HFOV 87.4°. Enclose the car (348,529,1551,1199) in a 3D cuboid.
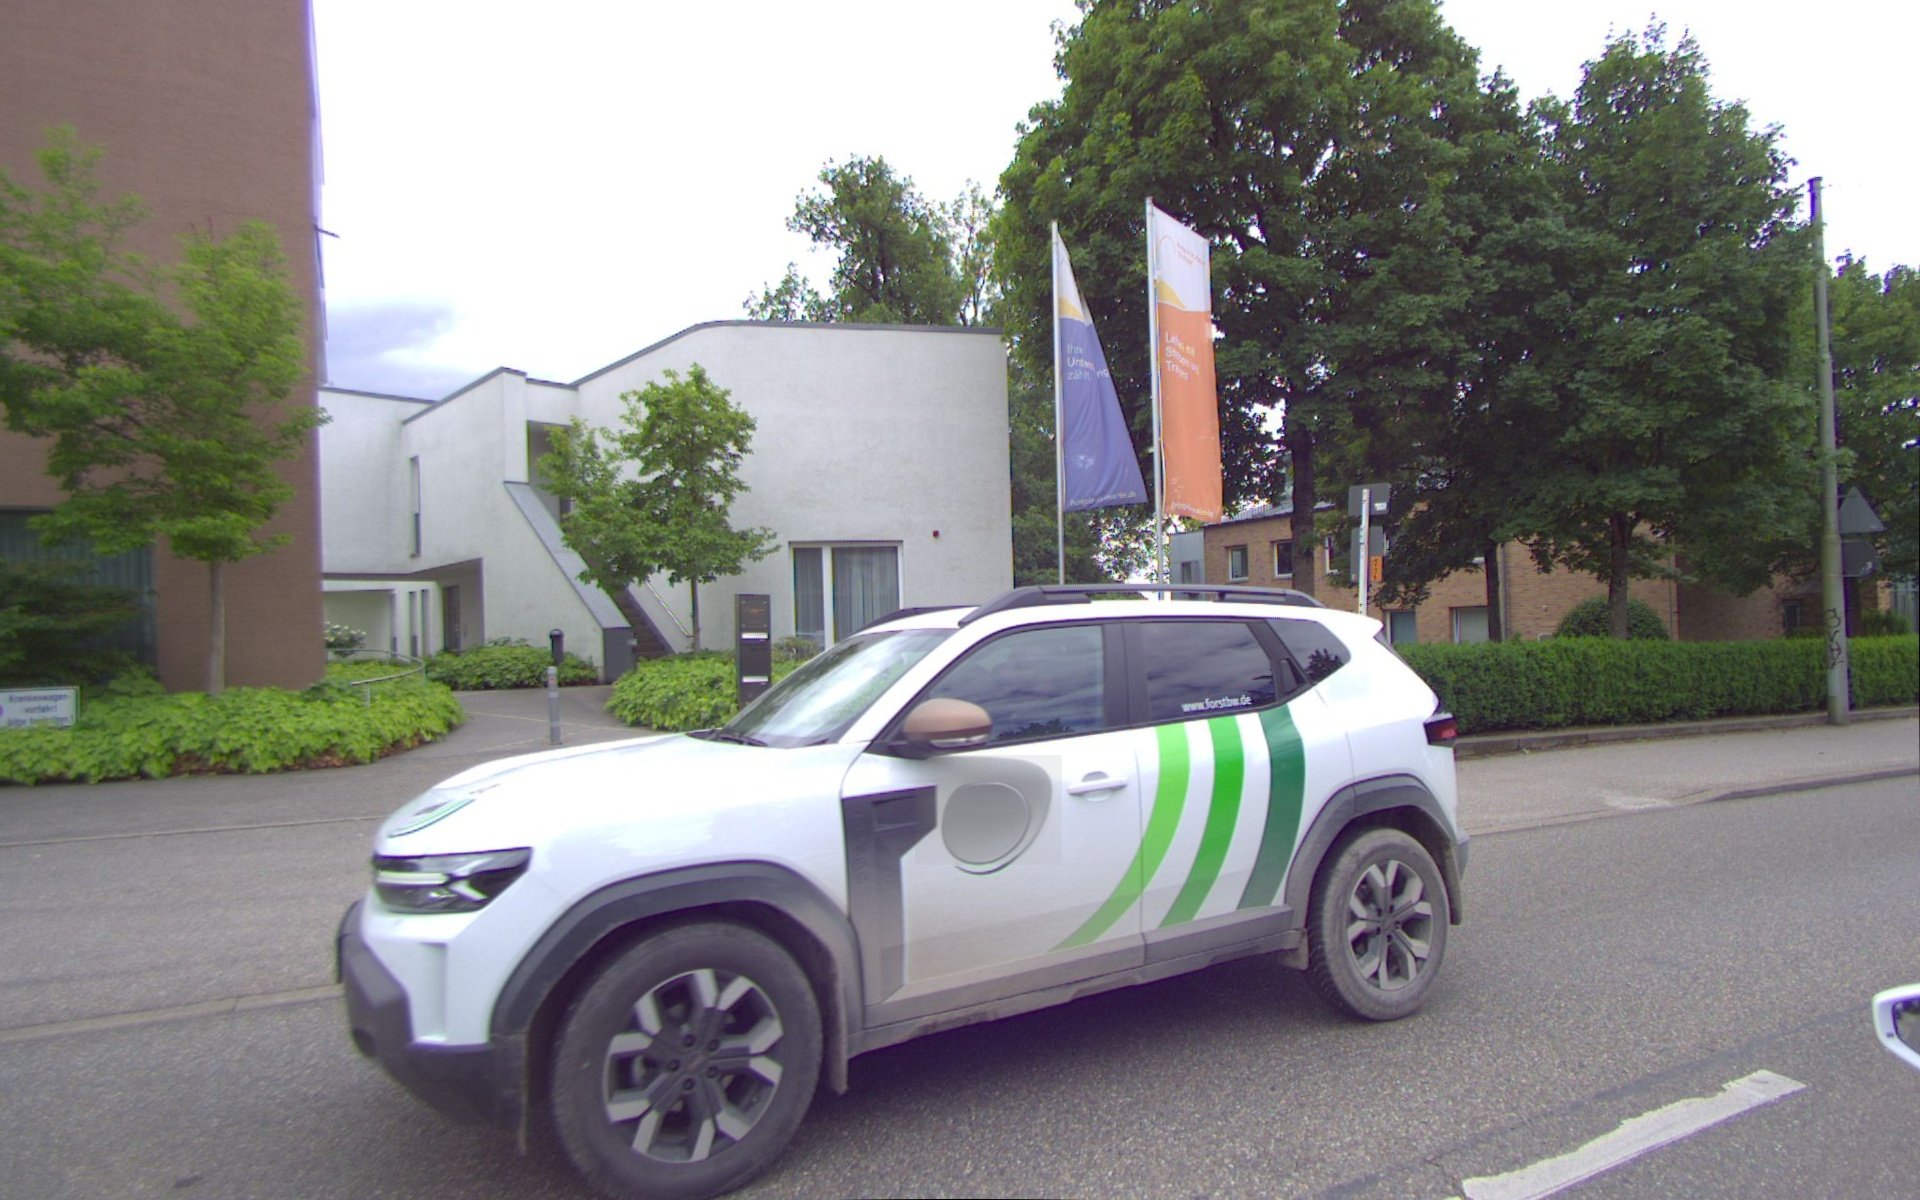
[{"bbox_3d":[0.146,0.774,3.993,4.247,1.658,1.763,1,-5,-28],"label":"car"}]
